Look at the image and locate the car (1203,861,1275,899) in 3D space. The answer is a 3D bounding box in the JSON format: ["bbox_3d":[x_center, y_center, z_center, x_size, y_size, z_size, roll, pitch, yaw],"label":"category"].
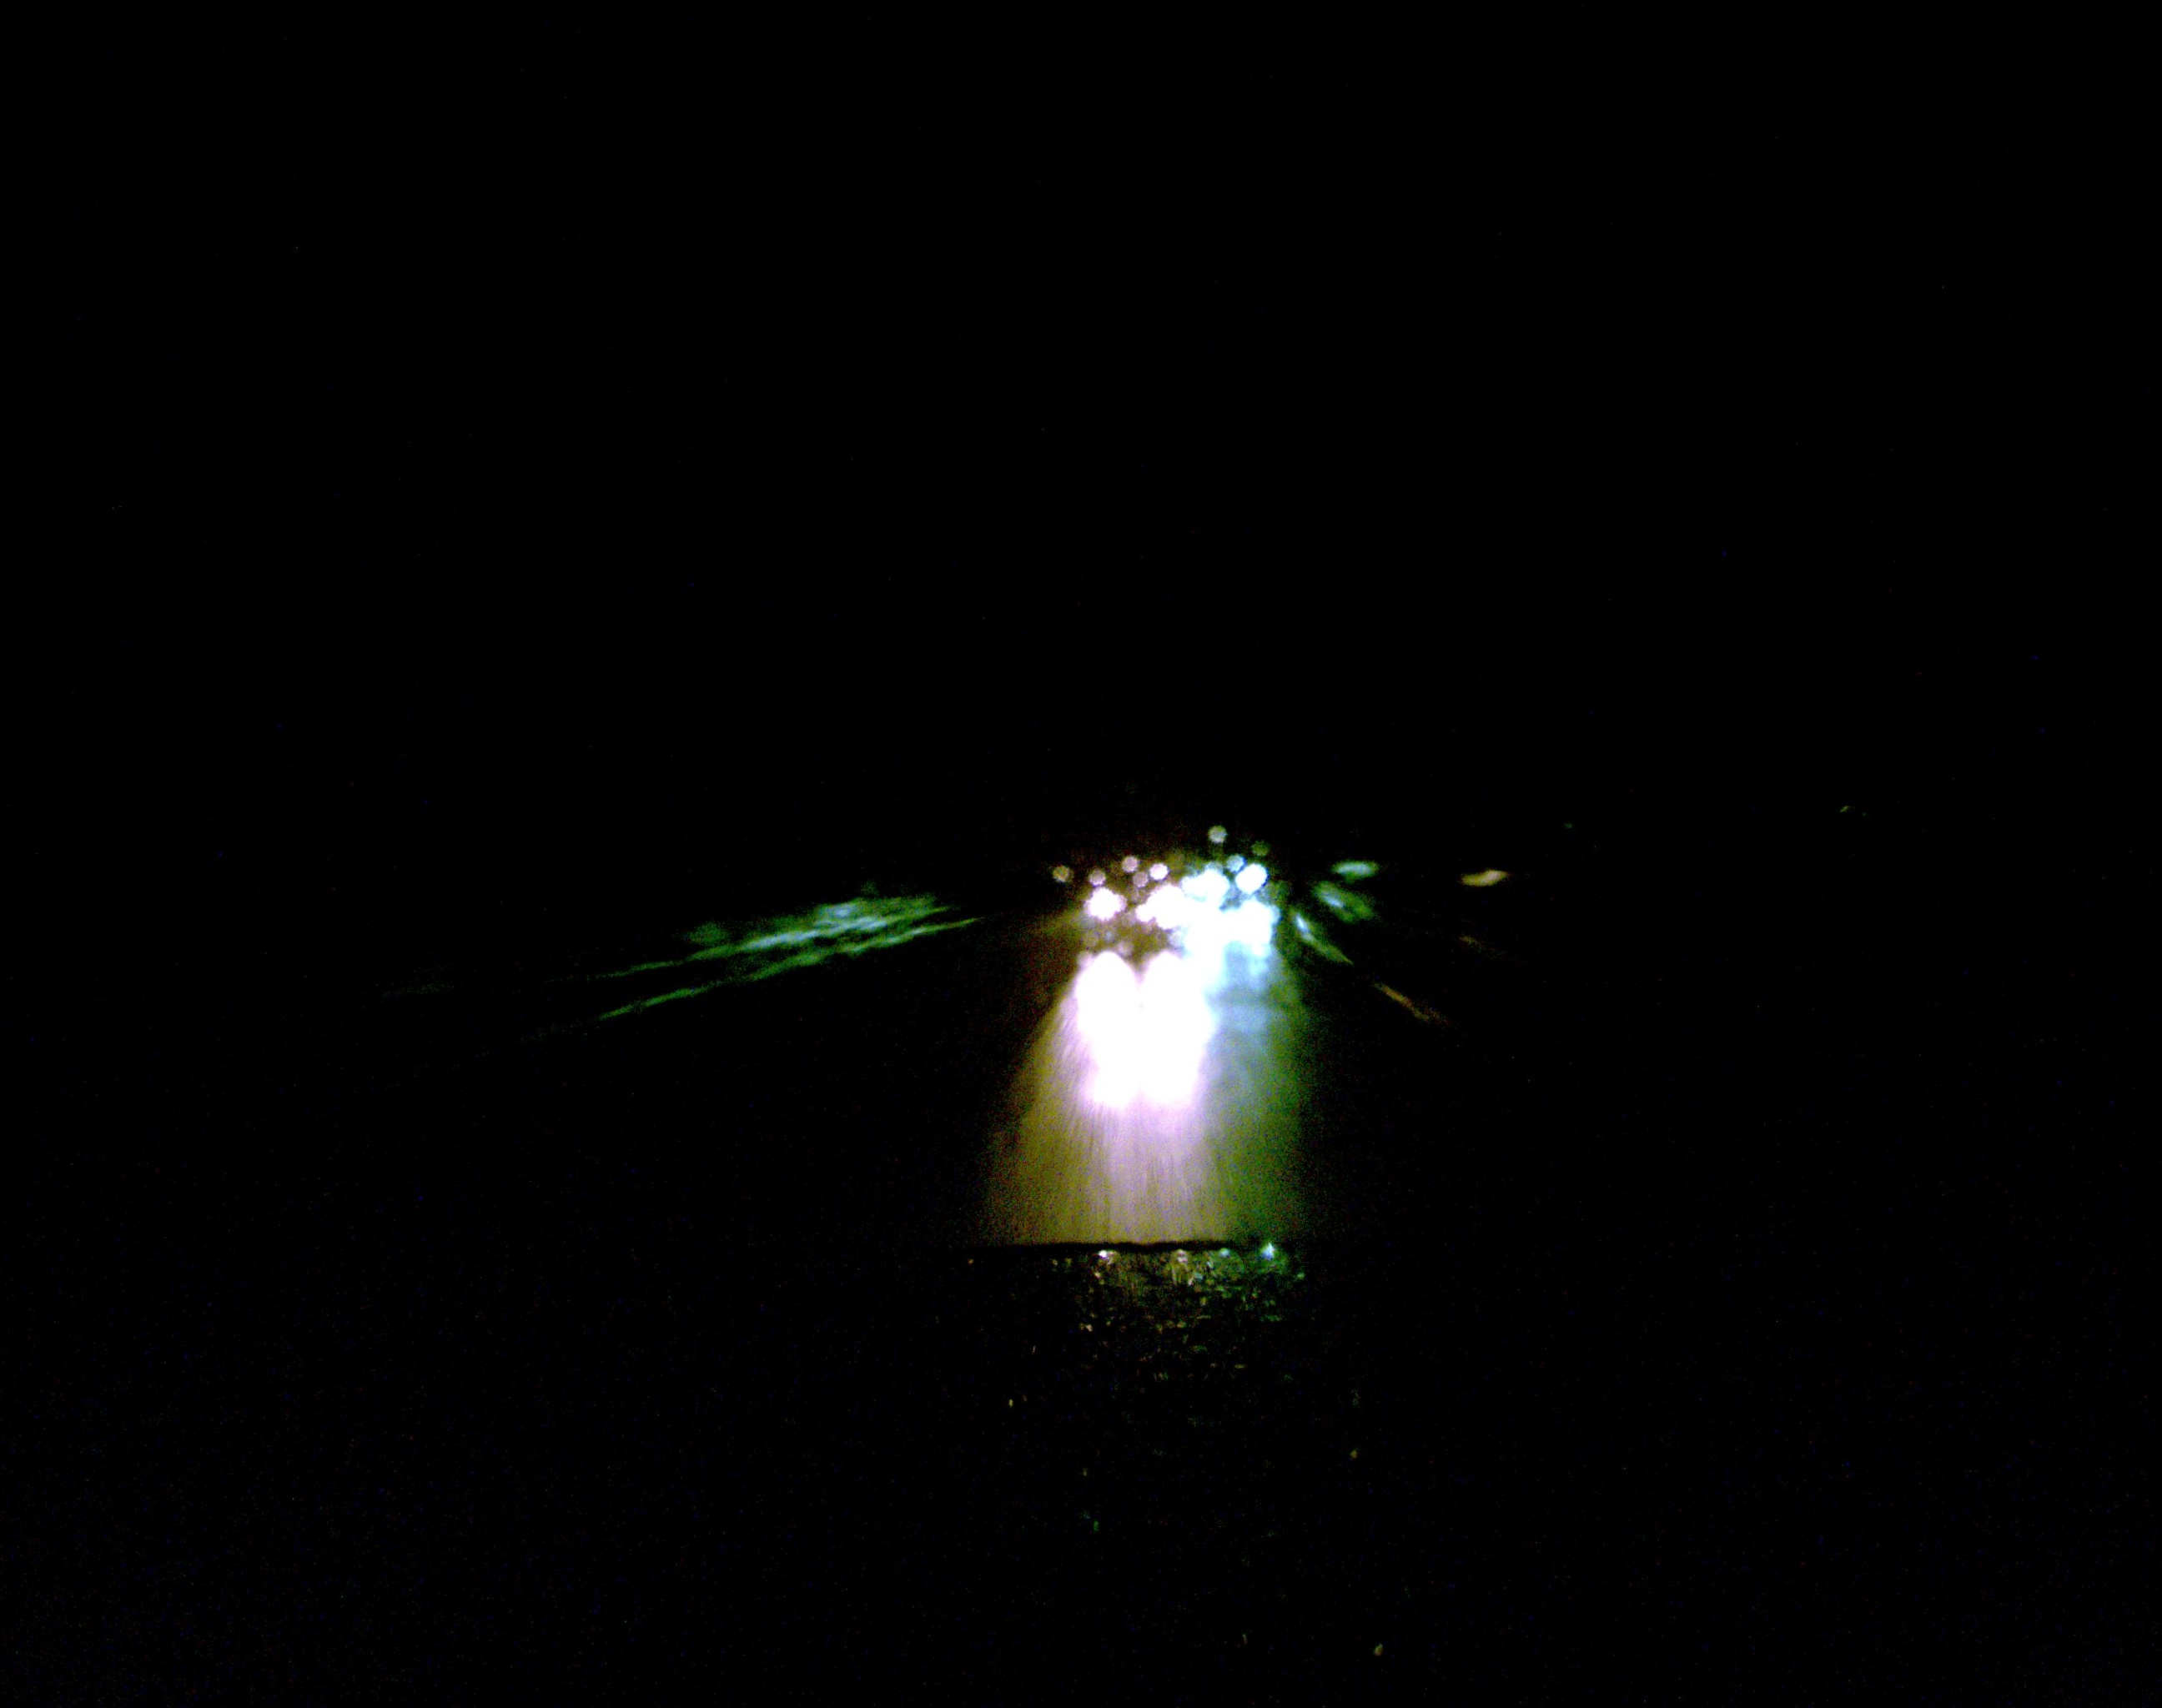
[{"bbox_3d":[6.004,0.932,28.586,1.757,1.304,4.092,-1,-1,24],"label":"car"}]

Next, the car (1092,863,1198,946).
[{"bbox_3d":[1.414,0.931,15.567,1.685,1.442,3.646,0,0,12],"label":"car"}]
